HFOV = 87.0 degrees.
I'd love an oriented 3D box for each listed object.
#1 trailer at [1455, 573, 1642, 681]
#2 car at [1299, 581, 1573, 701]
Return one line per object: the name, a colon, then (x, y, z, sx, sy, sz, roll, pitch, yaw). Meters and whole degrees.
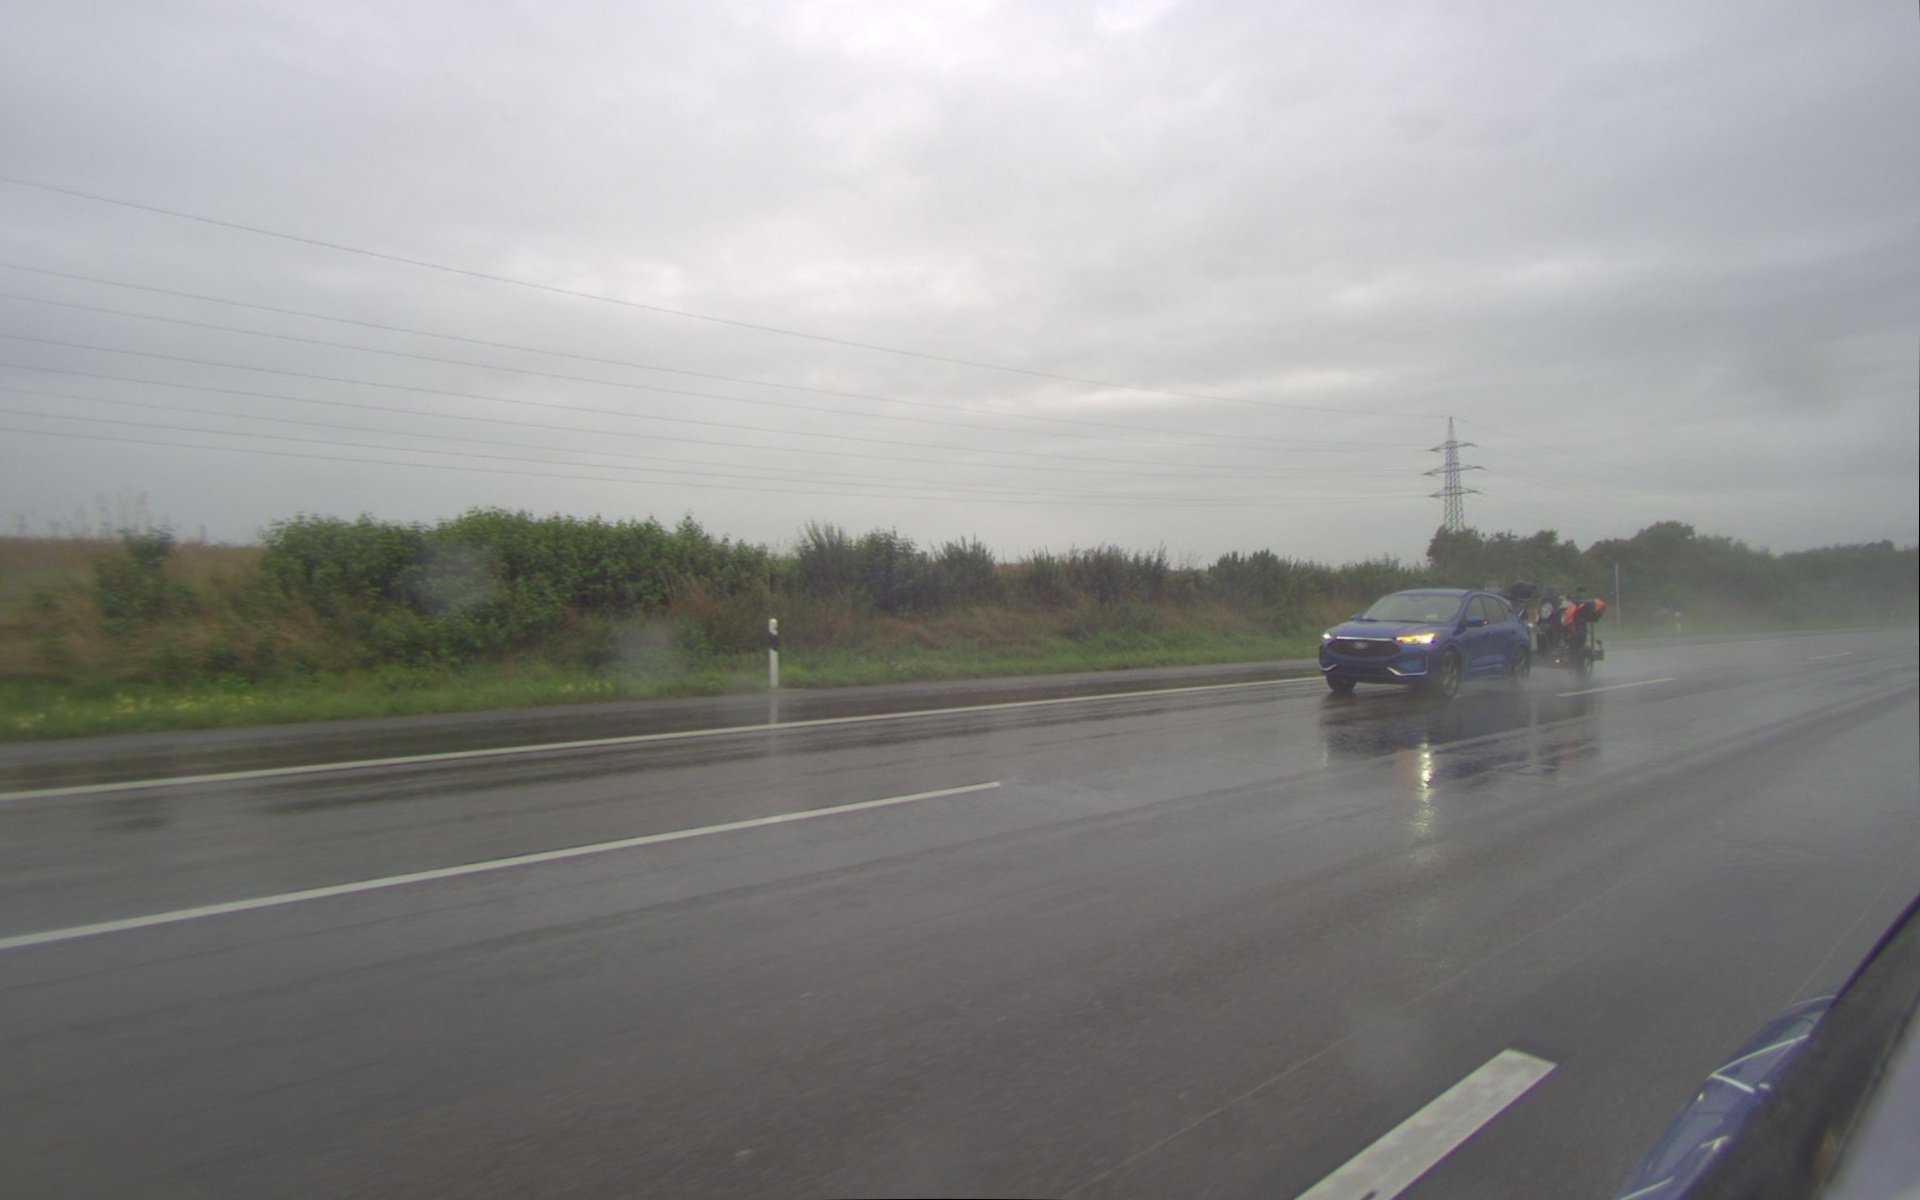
trailer: (10.889, 0.443, 18.697, 3.131, 1.807, 1.984, 0, 0, -38)
car: (7.697, 0.557, 16.160, 4.901, 1.639, 1.998, 0, 0, -38)
